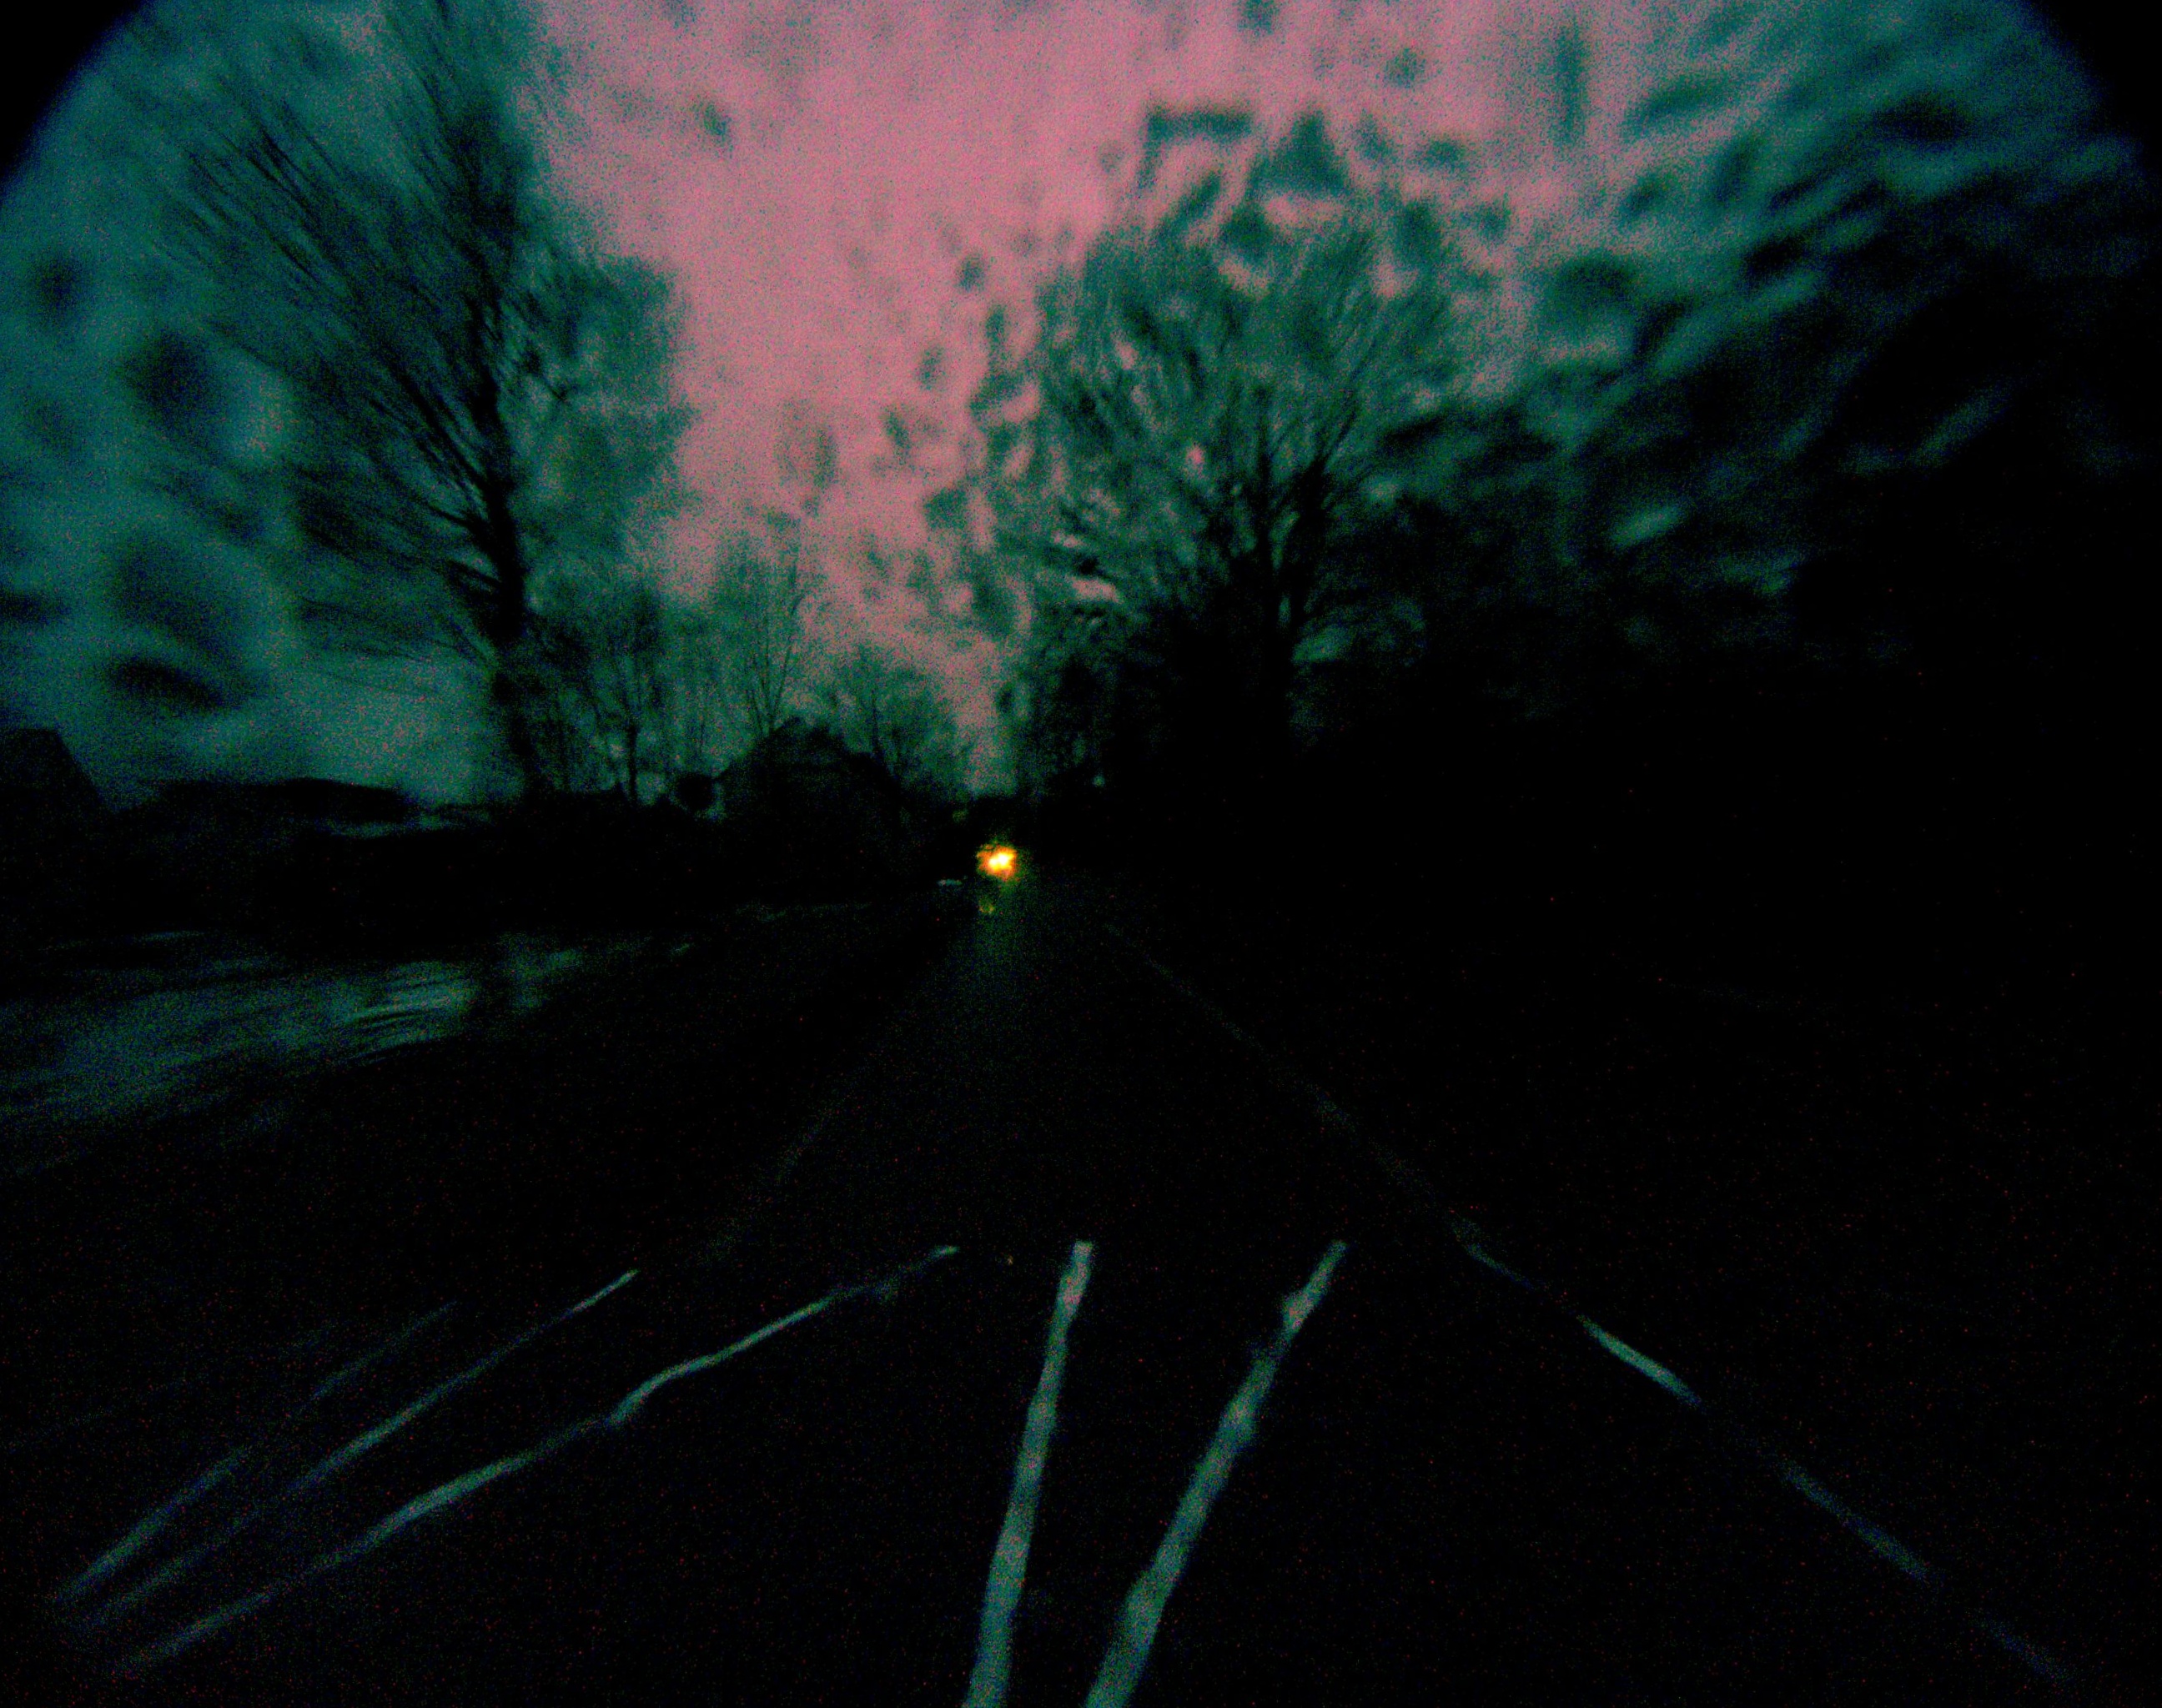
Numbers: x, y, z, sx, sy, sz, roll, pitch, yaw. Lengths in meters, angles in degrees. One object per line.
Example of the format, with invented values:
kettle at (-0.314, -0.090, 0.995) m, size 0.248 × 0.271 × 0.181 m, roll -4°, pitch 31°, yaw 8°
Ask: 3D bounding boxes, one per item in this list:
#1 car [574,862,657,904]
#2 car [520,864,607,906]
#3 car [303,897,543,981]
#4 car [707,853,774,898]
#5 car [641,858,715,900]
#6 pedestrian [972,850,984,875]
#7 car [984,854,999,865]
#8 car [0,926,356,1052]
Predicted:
car at (-20.906, 1.263, 34.299) m, size 1.643 × 1.465 × 3.734 m, roll -2°, pitch 4°, yaw -6°
car at (-23.697, 1.372, 34.954) m, size 1.643 × 1.465 × 3.734 m, roll -2°, pitch 4°, yaw -6°
car at (-15.153, 1.920, 17.705) m, size 3.794 × 1.587 × 1.802 m, roll -2°, pitch 0°, yaw -8°
car at (-15.641, 0.922, 35.113) m, size 1.643 × 1.674 × 3.734 m, roll -2°, pitch 4°, yaw -6°
car at (-18.250, 1.093, 34.601) m, size 1.643 × 1.465 × 3.734 m, roll -2°, pitch 4°, yaw -6°
pedestrian at (-6.998, 0.580, 51.548) m, size 0.746 × 1.645 × 0.970 m, roll -2°, pitch 1°, yaw -7°
car at (-12.913, 0.803, 109.220) m, size 1.710 × 1.497 × 4.020 m, roll -3°, pitch 1°, yaw -12°
car at (-14.829, 2.135, 12.500) m, size 3.794 × 1.587 × 1.802 m, roll -2°, pitch 0°, yaw -8°
